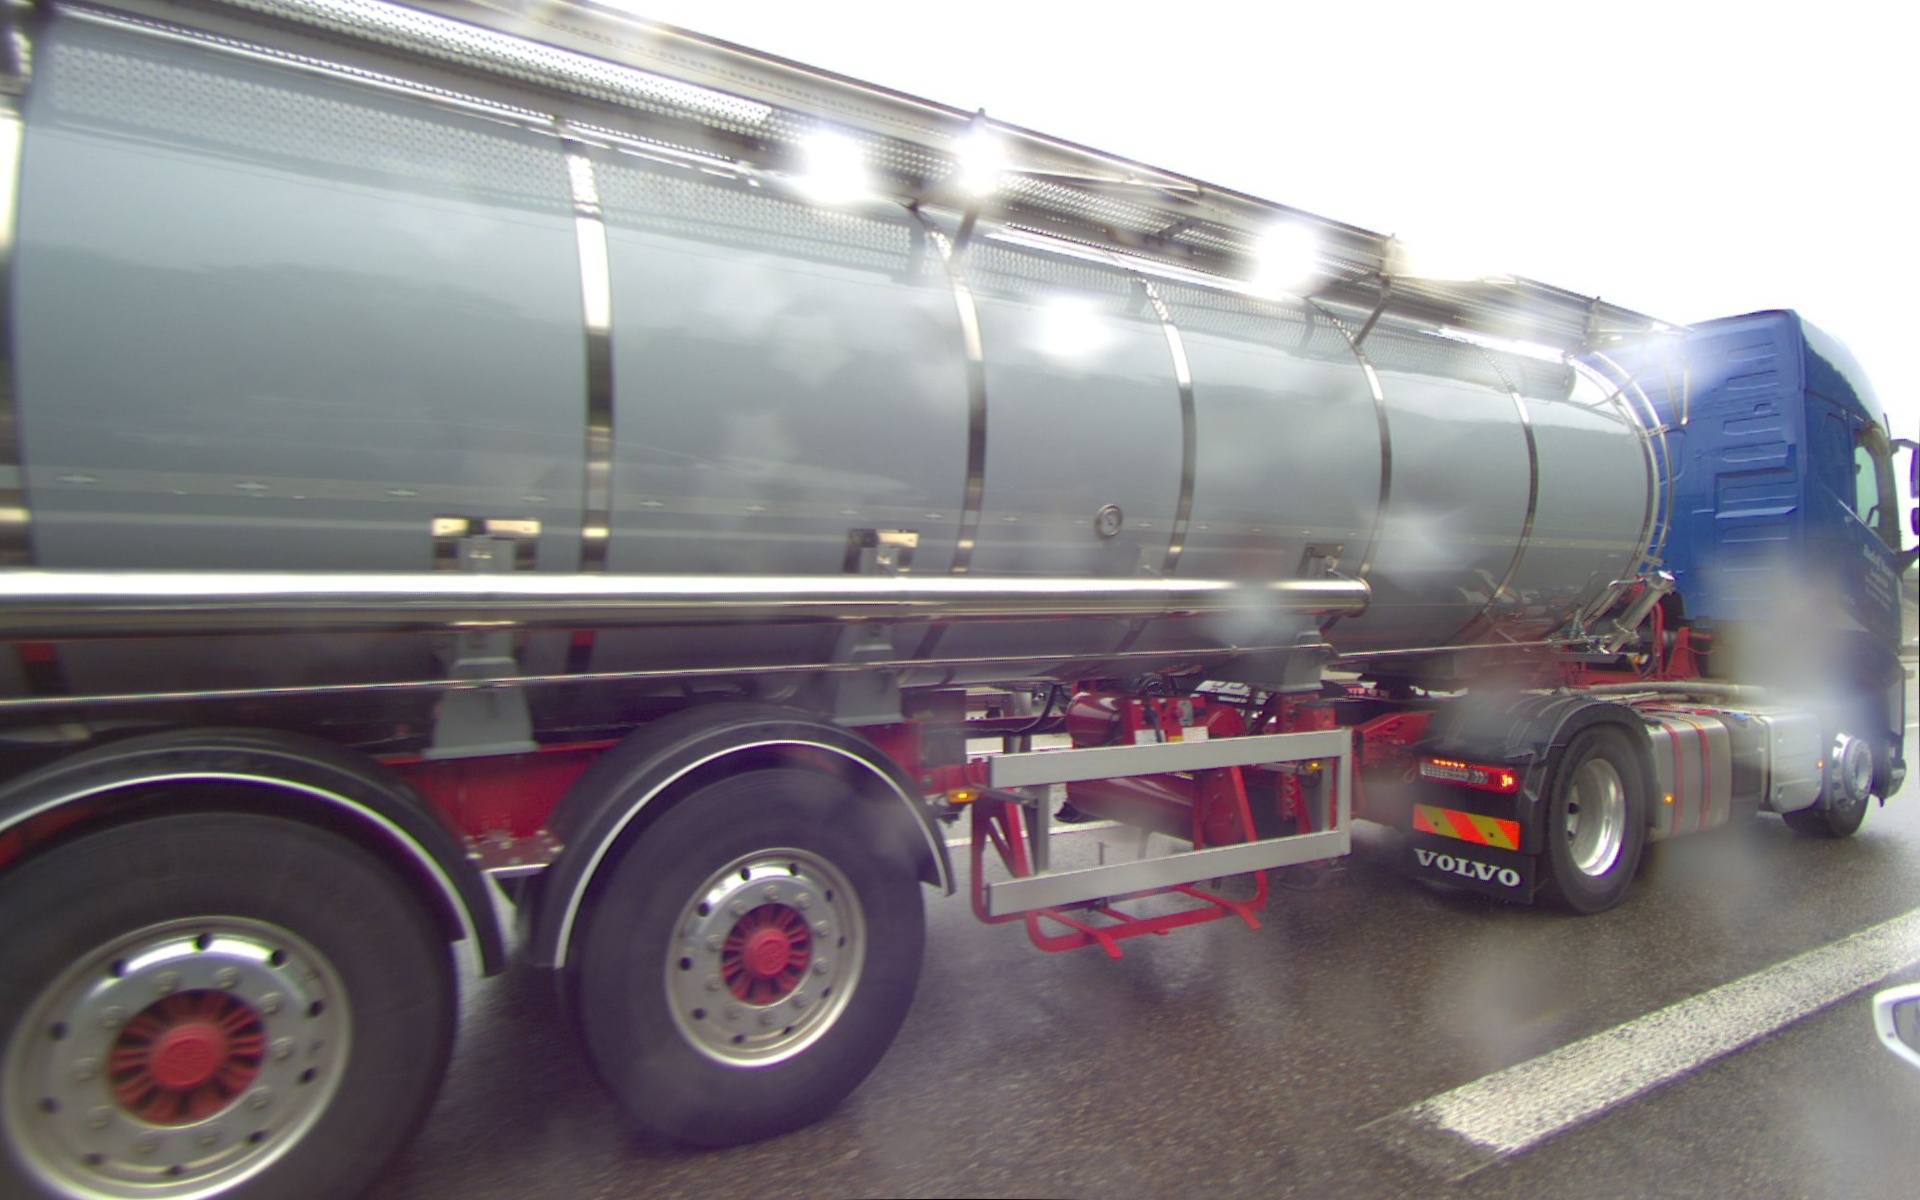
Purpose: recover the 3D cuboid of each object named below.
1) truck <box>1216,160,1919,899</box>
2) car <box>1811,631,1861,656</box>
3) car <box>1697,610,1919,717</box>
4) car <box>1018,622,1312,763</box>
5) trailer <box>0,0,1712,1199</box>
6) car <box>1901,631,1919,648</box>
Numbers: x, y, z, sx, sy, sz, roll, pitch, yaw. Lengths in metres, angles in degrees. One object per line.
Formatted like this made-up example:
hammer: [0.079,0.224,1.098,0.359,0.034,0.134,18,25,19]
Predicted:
truck: [4.801,-0.309,7.632,4.999,3.743,2.862,1,-1,-31]
car: [70.211,3.469,80.520,3.956,1.855,1.983,1,-1,-32]
car: [15.795,1.113,18.625,4.514,1.774,1.836,1,-2,-31]
car: [3.123,1.276,15.137,4.107,1.822,1.983,2,-1,-32]
trailer: [-0.827,-0.228,4.133,9.965,3.332,2.858,1,-1,-32]
car: [106.245,4.378,111.258,3.956,1.808,1.983,2,-1,-32]
